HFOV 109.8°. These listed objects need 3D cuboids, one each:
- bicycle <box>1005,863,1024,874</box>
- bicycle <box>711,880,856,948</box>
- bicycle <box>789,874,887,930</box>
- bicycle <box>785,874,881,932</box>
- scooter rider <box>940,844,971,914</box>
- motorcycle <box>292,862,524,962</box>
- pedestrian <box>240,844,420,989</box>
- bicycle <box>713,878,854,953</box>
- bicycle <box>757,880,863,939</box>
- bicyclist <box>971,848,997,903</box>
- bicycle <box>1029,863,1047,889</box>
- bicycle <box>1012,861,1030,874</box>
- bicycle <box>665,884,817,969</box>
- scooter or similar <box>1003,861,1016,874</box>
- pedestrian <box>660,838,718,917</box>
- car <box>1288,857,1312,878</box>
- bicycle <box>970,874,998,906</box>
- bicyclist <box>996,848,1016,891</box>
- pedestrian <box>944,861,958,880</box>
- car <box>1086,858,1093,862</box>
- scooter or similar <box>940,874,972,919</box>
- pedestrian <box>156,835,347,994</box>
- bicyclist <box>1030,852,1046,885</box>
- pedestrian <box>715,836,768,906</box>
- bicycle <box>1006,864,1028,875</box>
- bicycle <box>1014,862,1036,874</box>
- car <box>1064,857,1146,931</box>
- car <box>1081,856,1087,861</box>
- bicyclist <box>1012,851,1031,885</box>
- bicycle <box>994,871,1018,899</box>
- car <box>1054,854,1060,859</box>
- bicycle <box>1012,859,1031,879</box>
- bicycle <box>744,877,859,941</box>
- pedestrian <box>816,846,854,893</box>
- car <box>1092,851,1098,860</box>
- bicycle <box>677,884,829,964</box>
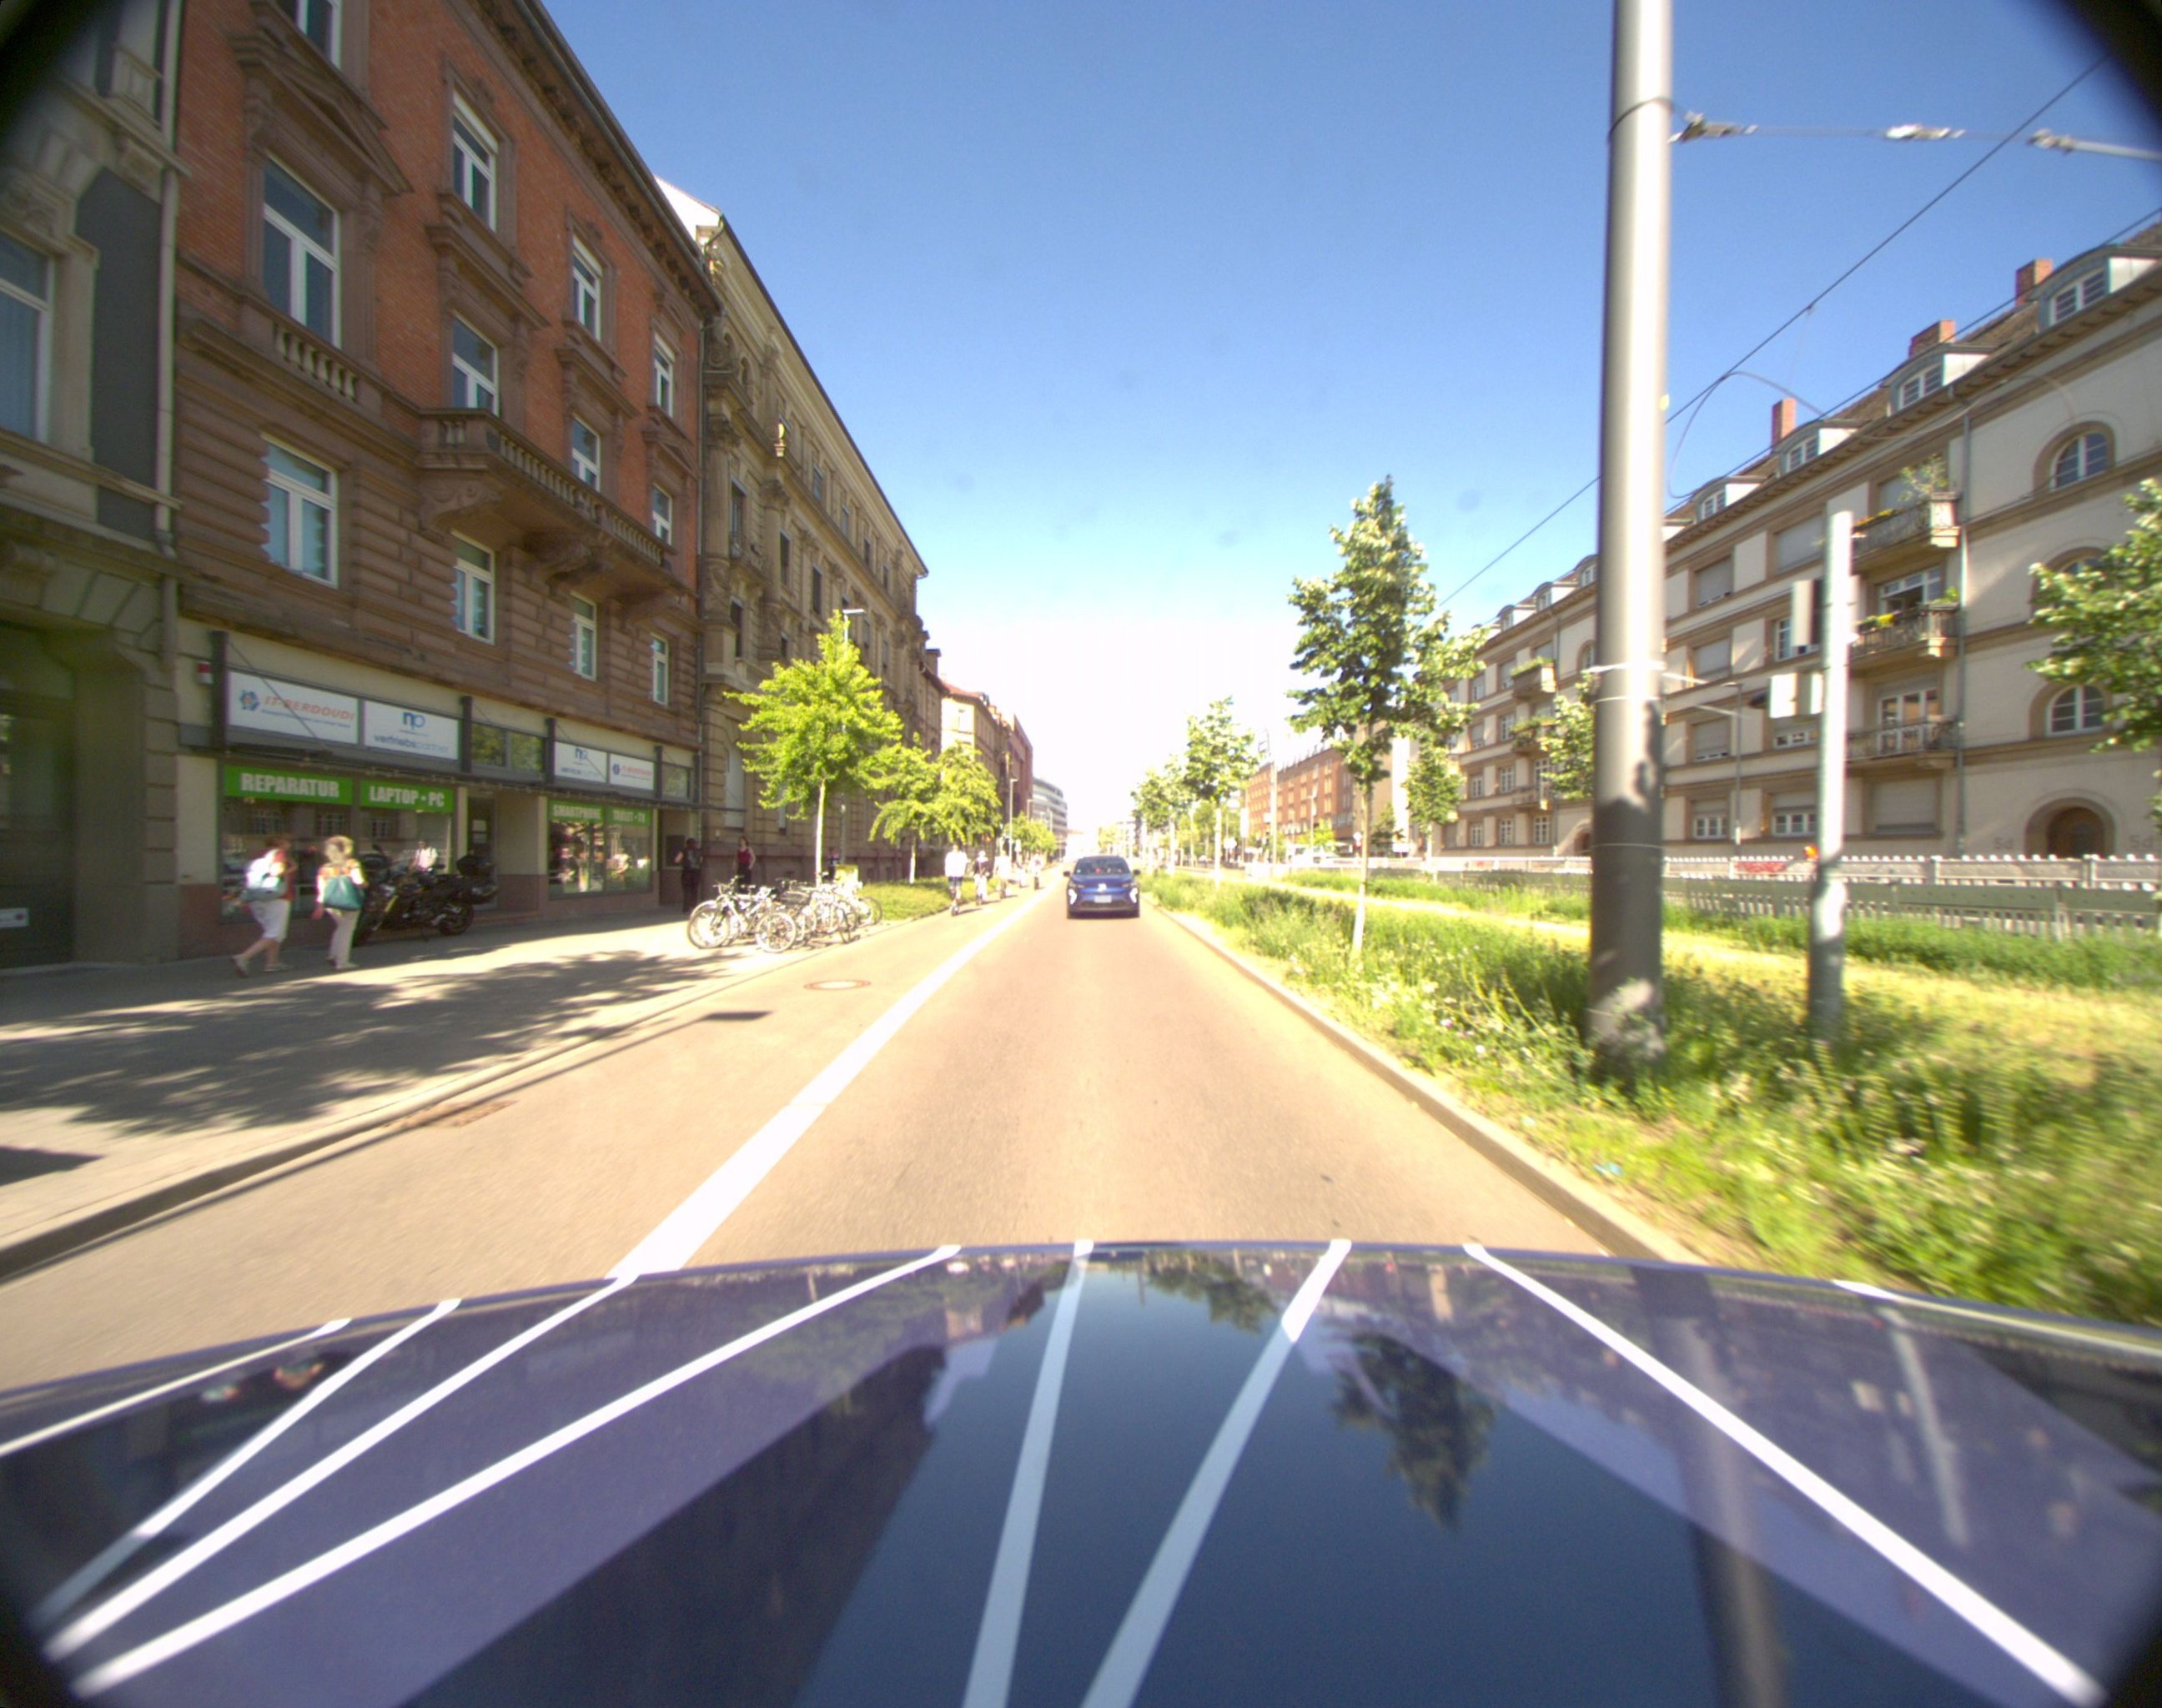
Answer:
[{"bbox_3d":[-6.201,1.345,70.923,1.717,0.920,0.497,1,1,0],"label":"bicycle"},{"bbox_3d":[-5.184,1.060,13.352,2.293,1.096,0.486,3,1,-14],"label":"bicycle"},{"bbox_3d":[-5.211,1.034,16.334,1.897,1.102,0.517,2,1,-4],"label":"bicycle"},{"bbox_3d":[-5.197,1.024,15.979,1.871,1.172,0.373,1,1,-2],"label":"bicycle"},{"bbox_3d":[-3.377,0.669,20.524,0.662,1.855,0.898,0,0,0],"label":"scooter rider"},{"bbox_3d":[-10.085,0.792,11.639,0.868,1.259,2.981,2,1,0],"label":"motorcycle"},{"bbox_3d":[-8.667,0.695,8.834,0.953,1.557,1.080,2,-1,0],"label":"pedestrian"},{"bbox_3d":[-5.050,1.062,13.006,2.154,1.148,0.429,4,0,-13],"label":"bicycle"},{"bbox_3d":[-5.274,1.076,14.862,1.820,1.049,0.571,2,1,-5],"label":"bicycle"},{"bbox_3d":[-3.299,0.724,25.905,0.725,1.807,1.091,-1,0,0],"label":"bicyclist"},{"bbox_3d":[-2.069,1.055,37.001,0.725,1.187,1.952,-1,0,0],"label":"bicycle"},{"bbox_3d":[-5.952,1.335,75.162,1.678,1.055,1.134,4,1,-1],"label":"bicycle"},{"bbox_3d":[-5.113,1.092,11.515,1.980,1.117,0.481,4,-1,-5],"label":"bicycle"},{"bbox_3d":[-6.456,1.234,68.773,1.199,1.191,0.487,1,0,-4],"label":"scooter or similar"},{"bbox_3d":[-9.052,0.524,17.578,0.849,1.725,0.902,4,0,-9],"label":"pedestrian"},{"bbox_3d":[25.637,1.585,89.062,1.997,2.283,5.192,0,1,8],"label":"car"},{"bbox_3d":[-3.294,1.218,25.909,0.725,1.000,1.952,-1,0,0],"label":"bicycle"},{"bbox_3d":[-2.898,0.585,29.501,0.700,1.647,0.977,0,0,-1],"label":"bicyclist"},{"bbox_3d":[-8.350,1.053,48.953,0.719,1.176,0.881,1,1,0],"label":"pedestrian"},{"bbox_3d":[2.565,1.986,237.863,1.743,1.263,4.003,1,0,8],"label":"car"},{"bbox_3d":[-3.370,1.125,20.537,0.647,1.151,1.150,0,0,0],"label":"scooter or similar"},{"bbox_3d":[-9.159,0.644,8.448,0.973,1.629,0.992,2,-1,1],"label":"pedestrian"},{"bbox_3d":[-2.077,0.706,36.999,0.725,1.595,0.895,-1,0,0],"label":"bicyclist"},{"bbox_3d":[-9.674,0.470,21.711,0.891,1.909,1.098,3,1,6],"label":"pedestrian"},{"bbox_3d":[-5.950,1.387,70.291,1.905,0.906,0.592,3,1,9],"label":"bicycle"},{"bbox_3d":[-5.632,1.417,76.566,2.062,1.036,0.847,4,1,-1],"label":"bicycle"},{"bbox_3d":[0.558,0.895,18.997,1.758,1.576,4.420,-2,0,0],"label":"car"},{"bbox_3d":[0.776,1.401,229.141,1.745,1.543,4.000,1,0,0],"label":"car"},{"bbox_3d":[-3.114,0.719,39.792,0.854,1.716,0.989,-1,0,0],"label":"bicyclist"},{"bbox_3d":[-2.893,1.194,29.593,0.725,1.000,1.952,-1,0,0],"label":"bicycle"},{"bbox_3d":[-7.448,0.809,232.164,1.745,1.543,4.000,1,0,0],"label":"car"},{"bbox_3d":[-3.115,0.777,39.785,0.830,1.000,1.952,-1,0,0],"label":"bicycle"},{"bbox_3d":[-5.321,1.042,14.519,1.982,1.102,0.435,2,1,-2],"label":"bicycle"},{"bbox_3d":[-9.284,0.575,28.753,0.972,1.682,1.114,3,1,2],"label":"pedestrian"},{"bbox_3d":[3.887,0.366,215.922,1.758,2.471,4.610,0,0,0],"label":"car"},{"bbox_3d":[-5.114,1.087,11.923,2.049,1.100,0.610,3,1,-5],"label":"bicycle"}]
